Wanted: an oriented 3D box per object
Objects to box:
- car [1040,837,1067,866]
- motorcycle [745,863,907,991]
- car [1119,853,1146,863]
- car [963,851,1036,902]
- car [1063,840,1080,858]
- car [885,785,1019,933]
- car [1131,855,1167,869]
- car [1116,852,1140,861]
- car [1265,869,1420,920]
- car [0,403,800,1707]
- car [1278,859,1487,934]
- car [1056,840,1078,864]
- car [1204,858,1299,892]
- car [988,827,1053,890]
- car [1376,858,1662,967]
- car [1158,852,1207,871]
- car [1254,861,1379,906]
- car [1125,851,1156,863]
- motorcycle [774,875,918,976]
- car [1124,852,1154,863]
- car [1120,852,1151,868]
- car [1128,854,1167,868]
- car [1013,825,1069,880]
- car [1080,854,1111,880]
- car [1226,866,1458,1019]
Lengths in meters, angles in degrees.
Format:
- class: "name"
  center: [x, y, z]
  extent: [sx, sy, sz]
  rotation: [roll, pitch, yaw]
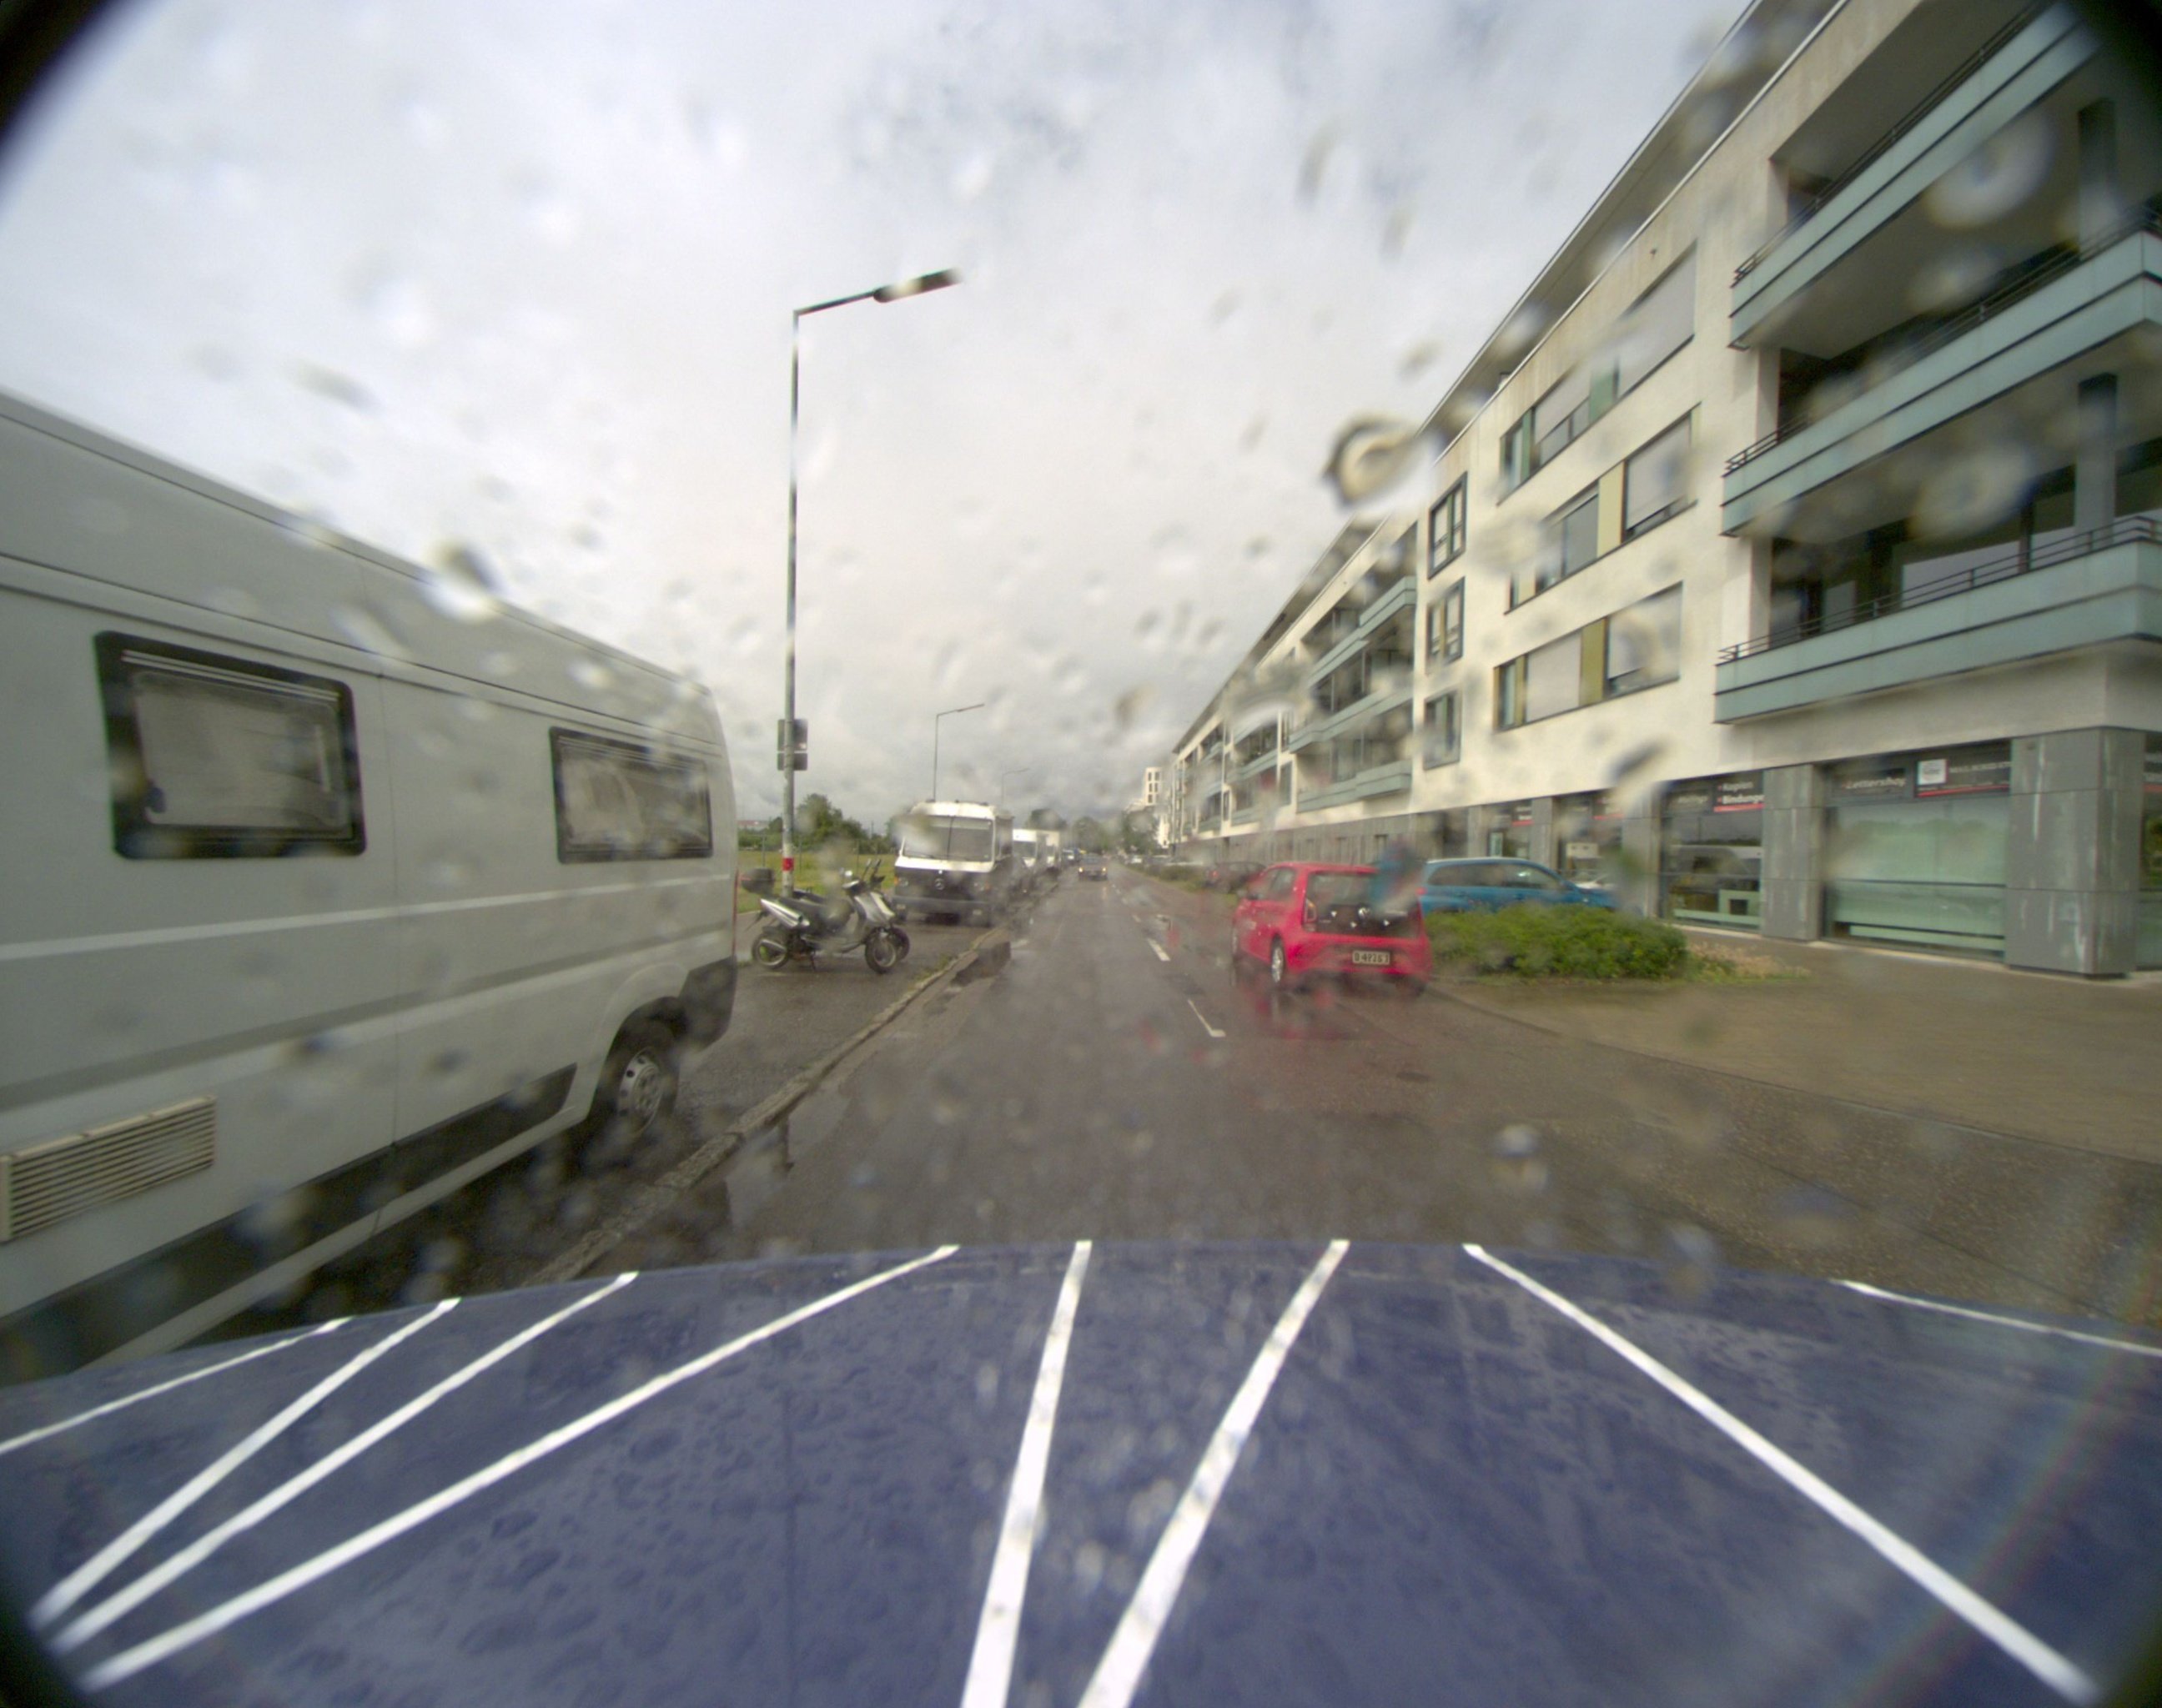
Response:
- class: "car"
  center: [-2.224, -0.198, 62.871]
  extent: [1.998, 2.228, 4.563]
  rotation: [1, 0, 1]
- class: "motorcycle"
  center: [-2.963, 0.846, 8.888]
  extent: [1.650, 1.366, 0.720]
  rotation: [4, 1, -21]
- class: "car"
  center: [7.415, 0.589, 110.407]
  extent: [3.798, 1.363, 1.744]
  rotation: [-2, 1, 0]
- class: "car"
  center: [-2.634, 0.695, 25.547]
  extent: [1.734, 1.485, 4.442]
  rotation: [3, 0, 3]
- class: "car"
  center: [-1.171, -0.592, 96.798]
  extent: [1.998, 2.228, 4.563]
  rotation: [1, 0, 1]
- class: "car"
  center: [-2.824, 0.077, 18.022]
  extent: [2.150, 2.867, 5.275]
  rotation: [4, 1, -1]
- class: "car"
  center: [7.613, 0.875, 85.426]
  extent: [3.798, 1.363, 1.744]
  rotation: [-2, 1, 0]
- class: "car"
  center: [7.615, 0.452, 122.664]
  extent: [3.798, 1.363, 1.744]
  rotation: [-2, 1, 0]
- class: "car"
  center: [6.941, 1.064, 20.365]
  extent: [3.614, 1.176, 1.539]
  rotation: [-2, 1, 0]
- class: "car"
  center: [-2.952, 0.397, 1.952]
  extent: [2.097, 2.458, 5.947]
  rotation: [3, 1, 1]
- class: "car"
  center: [6.986, 0.960, 17.926]
  extent: [4.183, 1.540, 1.859]
  rotation: [-1, 1, 0]
- class: "car"
  center: [-1.359, -0.173, 74.741]
  extent: [1.998, 2.228, 4.563]
  rotation: [1, 0, 1]
- class: "car"
  center: [7.288, 0.897, 32.759]
  extent: [3.740, 1.365, 1.644]
  rotation: [-1, 1, 1]
- class: "car"
  center: [-2.597, 0.188, 34.507]
  extent: [2.073, 2.514, 6.658]
  rotation: [3, 0, 2]
- class: "car"
  center: [7.272, 0.938, 12.932]
  extent: [3.819, 1.624, 1.755]
  rotation: [-2, 1, 3]
- class: "car"
  center: [8.338, 0.609, 62.884]
  extent: [3.798, 1.363, 1.744]
  rotation: [-2, 1, 0]
- class: "car"
  center: [7.918, 0.957, 25.712]
  extent: [3.667, 1.369, 1.686]
  rotation: [-2, 0, -2]
- class: "car"
  center: [7.460, 0.374, 95.421]
  extent: [3.798, 1.363, 1.744]
  rotation: [-2, 1, 0]
- class: "motorcycle"
  center: [-3.082, 0.938, 9.983]
  extent: [1.678, 1.188, 0.648]
  rotation: [4, 1, -21]
- class: "car"
  center: [7.450, 0.438, 97.896]
  extent: [3.798, 1.363, 1.744]
  rotation: [-2, 1, 0]
- class: "car"
  center: [7.374, 0.814, 103.190]
  extent: [3.974, 1.937, 1.953]
  rotation: [-2, 1, 0]
- class: "car"
  center: [6.798, 0.696, 77.447]
  extent: [3.798, 1.363, 1.744]
  rotation: [-2, 1, 0]
- class: "car"
  center: [-2.247, -0.088, 45.215]
  extent: [2.476, 2.939, 6.888]
  rotation: [2, 0, 3]
- class: "car"
  center: [0.952, 0.811, 48.287]
  extent: [1.873, 1.510, 4.358]
  rotation: [-1, 0, 2]
- class: "car"
  center: [2.987, 0.933, 9.441]
  extent: [1.661, 1.460, 3.389]
  rotation: [1, 0, 0]
